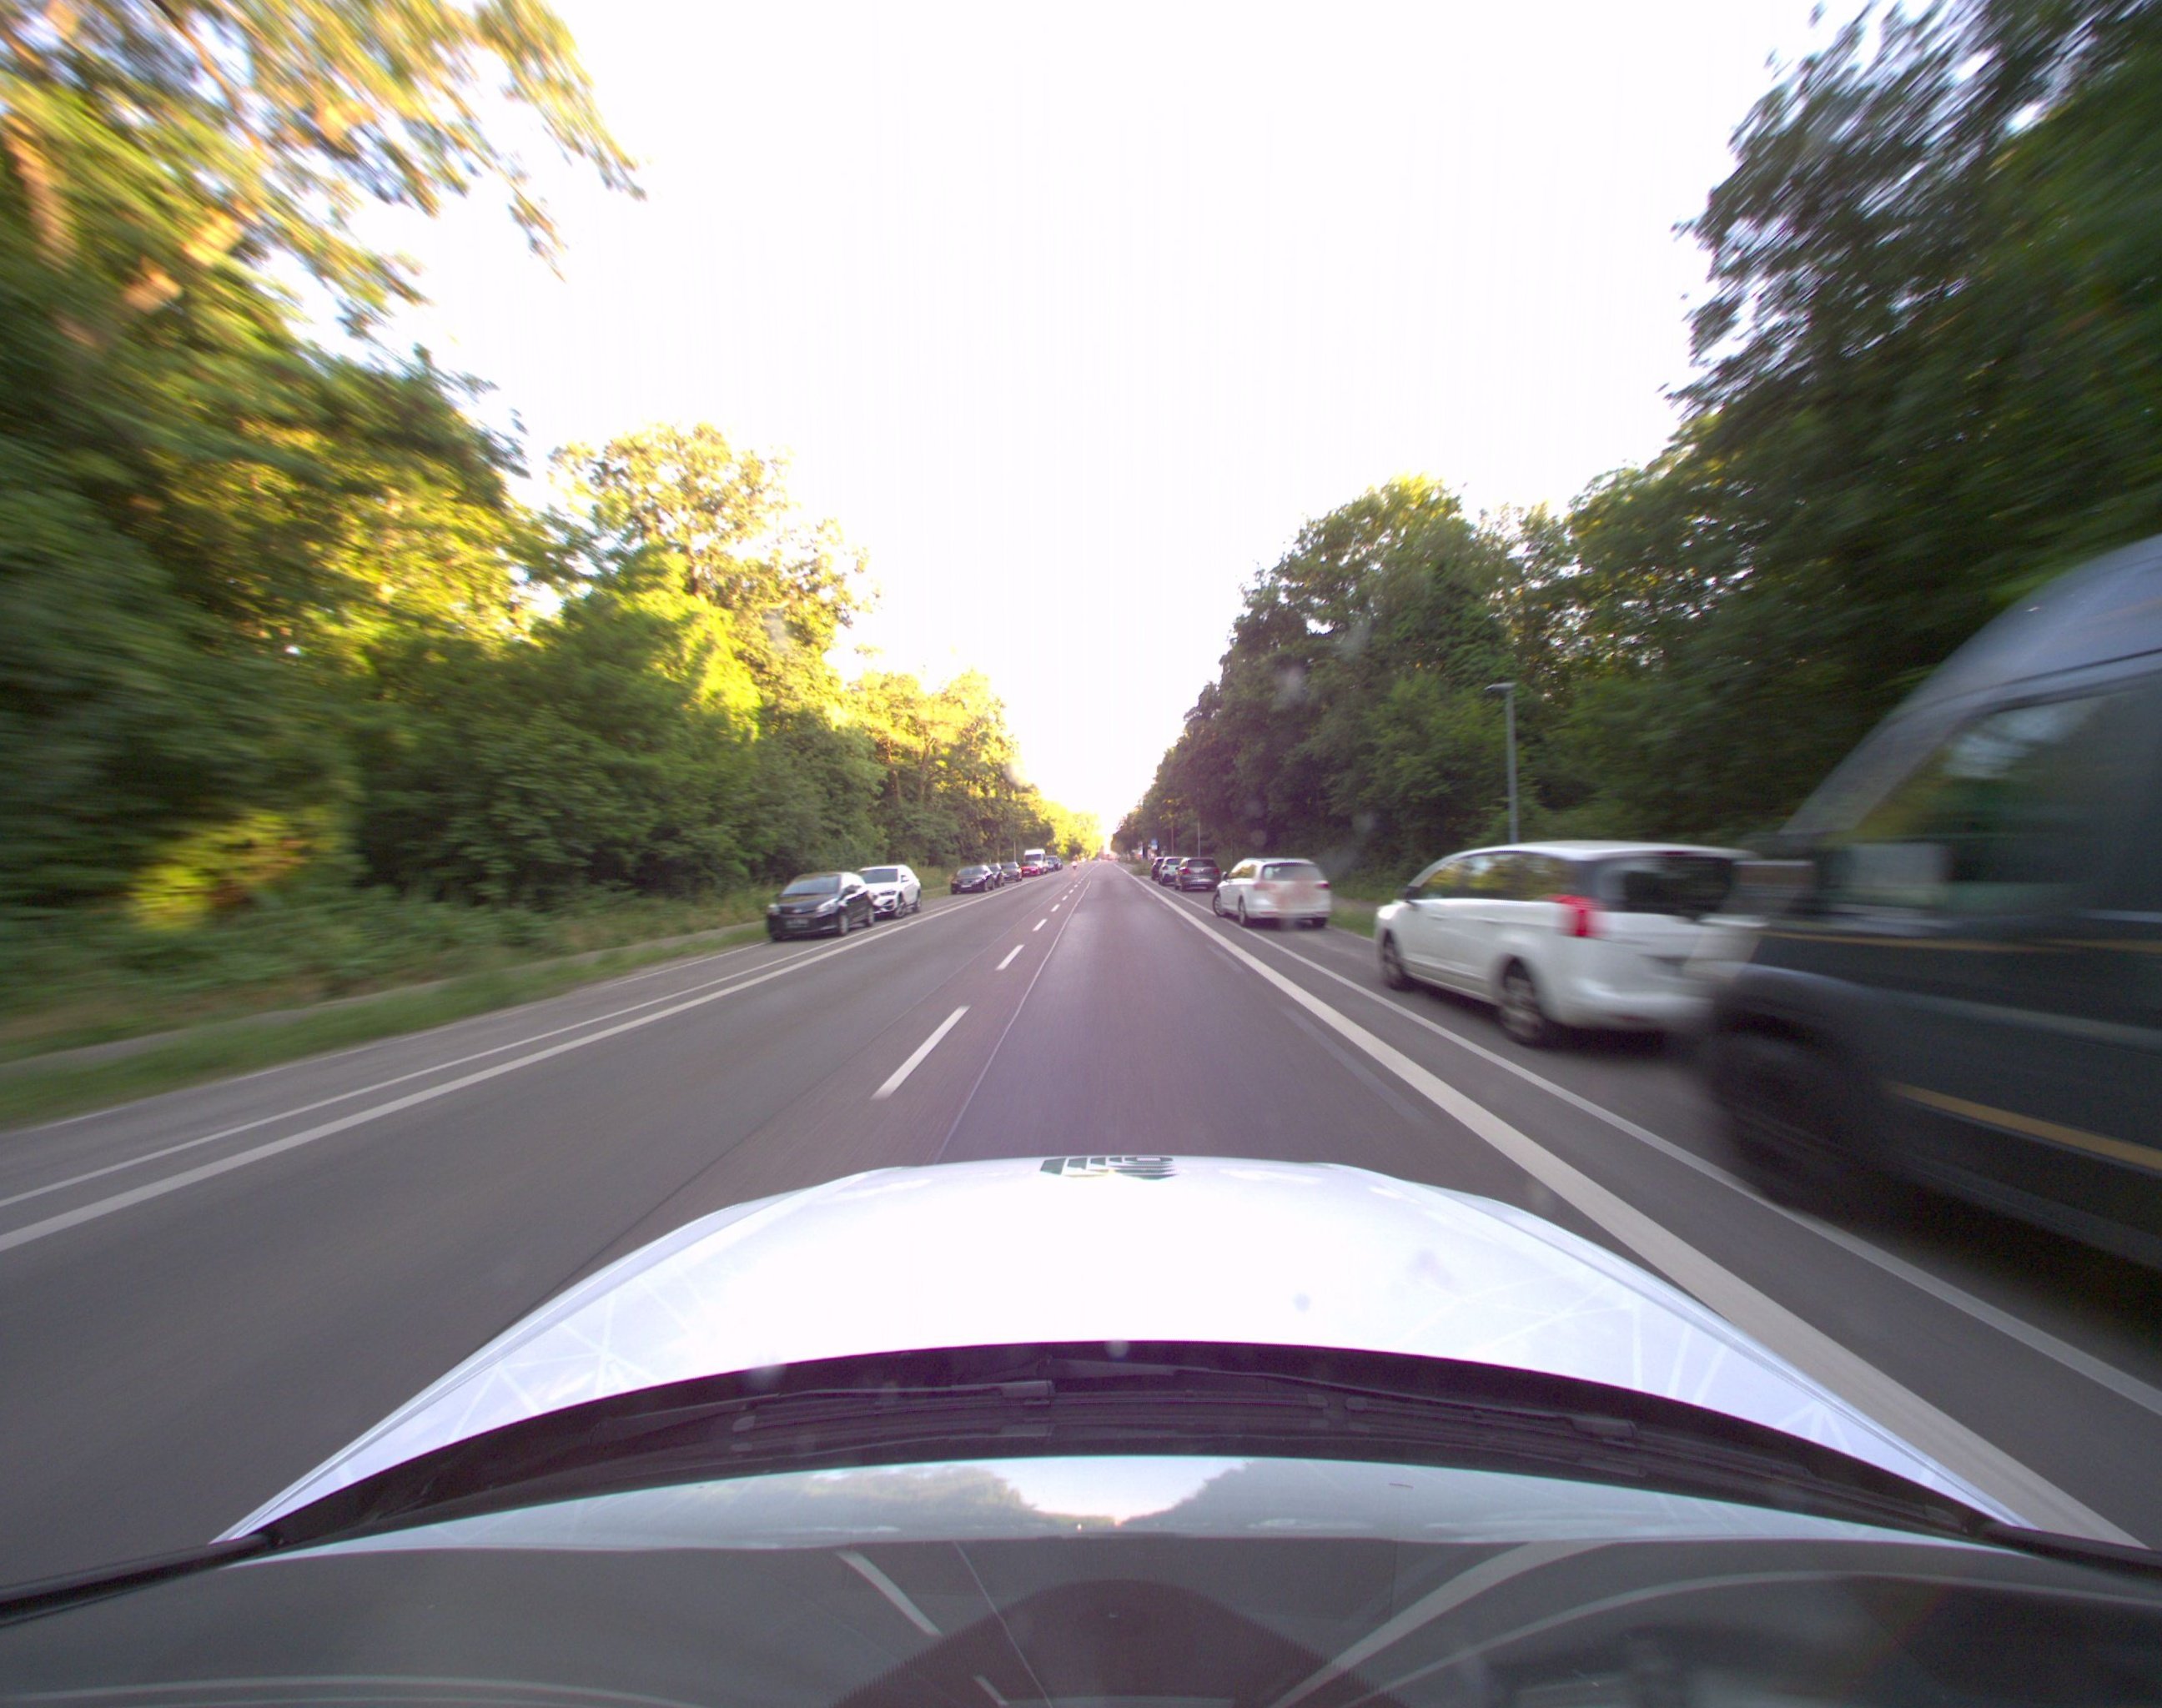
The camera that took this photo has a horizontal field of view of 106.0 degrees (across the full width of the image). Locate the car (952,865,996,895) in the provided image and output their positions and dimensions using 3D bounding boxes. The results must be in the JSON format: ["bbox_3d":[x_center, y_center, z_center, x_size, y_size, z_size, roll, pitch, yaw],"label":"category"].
[{"bbox_3d":[-5.471,1.301,42.121,1.592,1.395,4.052,-3,0,1],"label":"car"}]

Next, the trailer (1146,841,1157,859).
[{"bbox_3d":[22.579,-1.231,259.819,3.008,5.462,7.940,-2,-1,3],"label":"trailer"}]

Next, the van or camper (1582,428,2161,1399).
[{"bbox_3d":[3.877,0.140,1.588,2.119,2.541,6.060,-1,-1,1],"label":"van or camper"}]

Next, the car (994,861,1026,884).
[{"bbox_3d":[-5.077,1.281,58.496,1.840,1.462,4.228,-4,0,-1],"label":"car"}]

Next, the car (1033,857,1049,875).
[{"bbox_3d":[-4.520,1.340,92.516,1.682,1.858,4.385,-1,0,-1],"label":"car"}]

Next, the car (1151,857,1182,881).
[{"bbox_3d":[5.437,0.930,52.096,1.704,1.444,4.124,-1,0,2],"label":"car"}]

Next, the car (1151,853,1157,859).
[{"bbox_3d":[21.869,0.613,244.625,1.761,1.583,4.826,0,-1,6],"label":"car"}]

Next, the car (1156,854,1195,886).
[{"bbox_3d":[4.876,0.818,42.514,1.682,1.546,4.114,-2,0,2],"label":"car"}]

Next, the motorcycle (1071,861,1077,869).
[{"bbox_3d":[-0.916,1.461,109.582,0.608,1.126,1.964,-2,0,5],"label":"motorcycle"}]

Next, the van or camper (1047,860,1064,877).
[{"bbox_3d":[-3.296,1.821,106.829,1.996,2.018,5.460,-4,-1,0],"label":"van or camper"}]

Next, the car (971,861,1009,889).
[{"bbox_3d":[-5.422,1.238,48.944,1.705,1.508,3.657,-4,0,1],"label":"car"}]

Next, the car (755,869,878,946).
[{"bbox_3d":[-6.246,1.197,19.647,1.666,1.520,3.735,-3,0,0],"label":"car"}]

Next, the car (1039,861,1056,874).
[{"bbox_3d":[-4.115,1.687,100.022,1.663,1.433,4.448,-3,-1,2],"label":"car"}]

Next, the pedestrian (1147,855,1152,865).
[{"bbox_3d":[12.062,1.041,143.177,0.835,1.751,0.726,-2,-1,2],"label":"pedestrian"}]

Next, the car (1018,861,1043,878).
[{"bbox_3d":[-4.636,1.410,75.240,1.709,1.430,4.391,-3,-1,3],"label":"car"}]

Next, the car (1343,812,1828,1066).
[{"bbox_3d":[4.305,0.596,8.072,1.846,1.765,4.723,0,0,-1],"label":"car"}]

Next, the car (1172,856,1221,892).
[{"bbox_3d":[5.005,0.837,35.603,1.573,1.446,3.961,-2,0,1],"label":"car"}]

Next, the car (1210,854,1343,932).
[{"bbox_3d":[4.254,0.770,18.528,1.838,1.493,4.757,-1,0,-1],"label":"car"}]

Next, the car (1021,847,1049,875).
[{"bbox_3d":[-4.571,0.688,82.560,2.071,2.606,7.091,-5,-1,2],"label":"car"}]

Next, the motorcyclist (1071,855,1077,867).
[{"bbox_3d":[-0.924,0.927,109.673,0.601,1.529,0.996,-2,-1,4],"label":"motorcyclist"}]

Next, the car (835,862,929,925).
[{"bbox_3d":[-6.059,1.149,25.300,1.690,1.646,4.572,-3,0,0],"label":"car"}]
